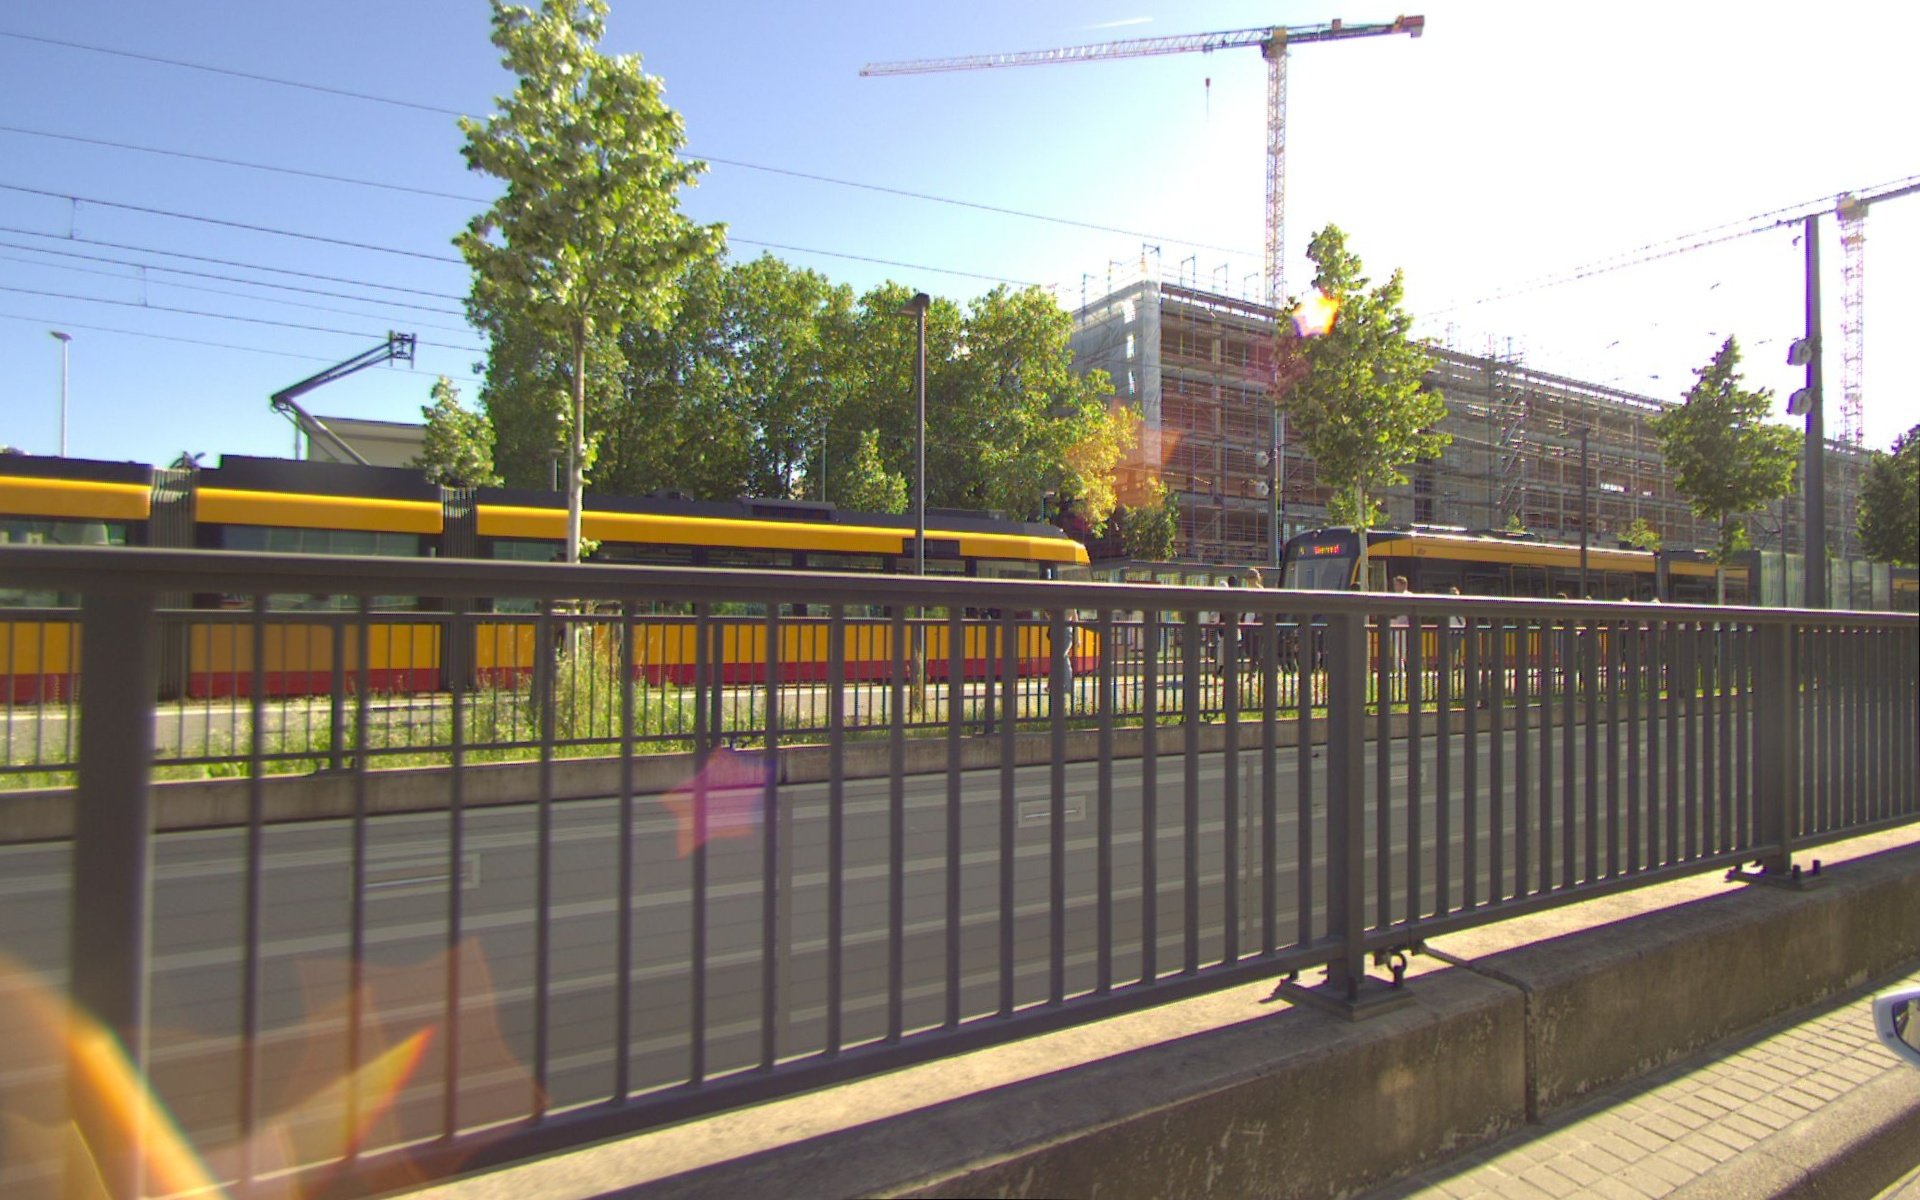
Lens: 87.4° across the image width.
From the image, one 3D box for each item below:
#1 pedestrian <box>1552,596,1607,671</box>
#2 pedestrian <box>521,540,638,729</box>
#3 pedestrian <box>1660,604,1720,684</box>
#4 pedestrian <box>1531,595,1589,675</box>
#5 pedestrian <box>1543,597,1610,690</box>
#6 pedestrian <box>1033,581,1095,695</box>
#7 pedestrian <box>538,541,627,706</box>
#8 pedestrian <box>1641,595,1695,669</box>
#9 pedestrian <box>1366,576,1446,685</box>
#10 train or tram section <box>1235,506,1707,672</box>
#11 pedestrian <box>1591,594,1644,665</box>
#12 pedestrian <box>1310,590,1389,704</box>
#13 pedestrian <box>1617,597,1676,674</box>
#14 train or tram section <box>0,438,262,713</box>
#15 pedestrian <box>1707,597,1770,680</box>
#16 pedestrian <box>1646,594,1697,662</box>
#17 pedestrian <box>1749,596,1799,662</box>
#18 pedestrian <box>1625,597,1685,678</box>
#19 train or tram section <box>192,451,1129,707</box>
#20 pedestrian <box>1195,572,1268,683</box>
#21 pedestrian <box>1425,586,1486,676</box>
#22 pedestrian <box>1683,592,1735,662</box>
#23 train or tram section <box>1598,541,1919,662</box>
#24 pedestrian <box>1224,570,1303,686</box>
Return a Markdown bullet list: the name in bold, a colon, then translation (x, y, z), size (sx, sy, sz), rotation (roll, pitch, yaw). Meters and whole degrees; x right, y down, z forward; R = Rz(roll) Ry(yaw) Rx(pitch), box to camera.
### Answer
- **pedestrian**: translation (13.981, 0.750, 22.674), size (0.851, 1.650, 0.738), rotation (1, -1, -29)
- **pedestrian**: translation (-3.845, 0.326, 10.138), size (0.968, 1.799, 0.786), rotation (0, 1, -33)
- **pedestrian**: translation (15.396, 0.920, 21.183), size (0.851, 1.650, 0.738), rotation (1, -1, -29)
- **pedestrian**: translation (12.628, 0.728, 21.149), size (0.851, 1.650, 0.738), rotation (1, -1, -29)
- **pedestrian**: translation (11.321, 0.792, 18.452), size (0.851, 1.650, 0.738), rotation (1, -1, -29)
- **pedestrian**: translation (1.451, 0.512, 14.011), size (0.582, 1.533, 0.643), rotation (0, 1, -33)
- **pedestrian**: translation (-4.321, 0.248, 11.491), size (0.817, 1.799, 0.757), rotation (0, 1, -33)
- **pedestrian**: translation (16.275, 0.733, 23.098), size (0.851, 1.650, 0.738), rotation (1, -1, -29)
- **pedestrian**: translation (7.926, 0.536, 17.859), size (0.995, 1.875, 0.883), rotation (1, -1, -30)
- **train or tram section**: translation (13.355, -0.122, 25.067), size (15.006, 3.323, 2.856), rotation (1, 1, -30)
- **pedestrian**: translation (15.543, 0.696, 23.741), size (0.851, 1.650, 0.738), rotation (1, -1, -29)
- **pedestrian**: translation (5.863, 0.698, 15.114), size (0.851, 1.650, 0.738), rotation (1, -1, -29)
- **pedestrian**: translation (15.044, 0.779, 22.026), size (0.935, 1.650, 0.738), rotation (1, -1, -29)
- **train or tram section**: translation (-15.935, -0.381, 11.374), size (12.919, 3.354, 2.856), rotation (1, 1, -30)
- **pedestrian**: translation (15.921, 0.782, 20.550), size (0.851, 1.650, 0.738), rotation (1, -1, -29)
- **pedestrian**: translation (17.714, 0.700, 25.003), size (0.851, 1.650, 0.738), rotation (1, -1, -29)
- **pedestrian**: translation (20.715, 0.736, 25.573), size (0.851, 1.650, 0.738), rotation (1, -1, -29)
- **pedestrian**: translation (14.407, 0.772, 20.822), size (0.851, 1.650, 0.738), rotation (1, -1, -29)
- **train or tram section**: translation (-3.967, -0.146, 18.438), size (15.778, 3.366, 2.834), rotation (1, 0, -30)
- **pedestrian**: translation (4.638, 0.475, 17.177), size (1.062, 1.834, 0.668), rotation (1, -1, -31)
- **pedestrian**: translation (9.725, 0.602, 19.712), size (0.851, 1.717, 0.738), rotation (1, -1, -29)
- **pedestrian**: translation (18.104, 0.660, 24.274), size (0.851, 1.650, 0.738), rotation (1, -1, -29)
- **train or tram section**: translation (29.286, 0.186, 34.402), size (21.883, 3.323, 2.856), rotation (1, 1, -31)
- **pedestrian**: translation (4.980, 0.458, 16.506), size (1.019, 1.834, 0.766), rotation (1, -1, -31)
